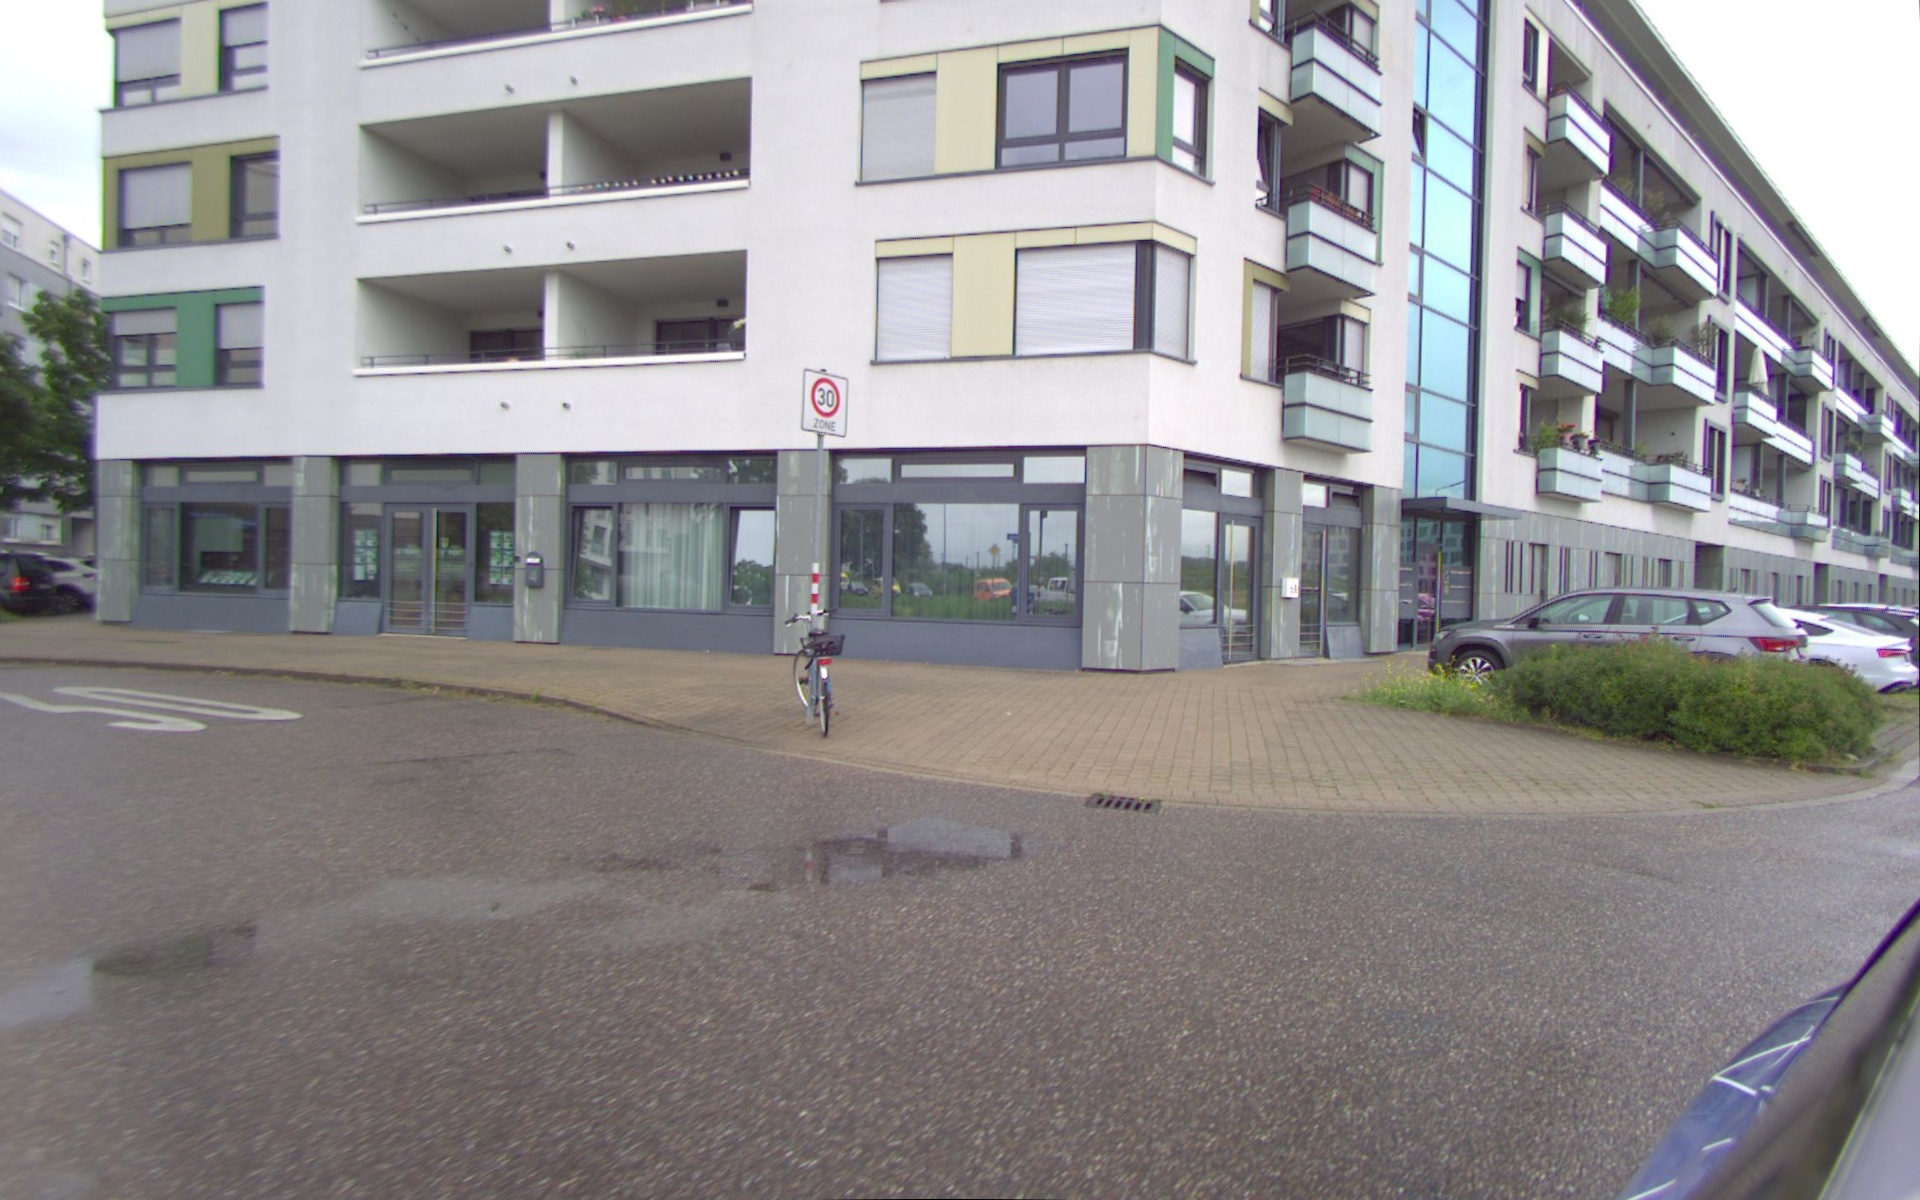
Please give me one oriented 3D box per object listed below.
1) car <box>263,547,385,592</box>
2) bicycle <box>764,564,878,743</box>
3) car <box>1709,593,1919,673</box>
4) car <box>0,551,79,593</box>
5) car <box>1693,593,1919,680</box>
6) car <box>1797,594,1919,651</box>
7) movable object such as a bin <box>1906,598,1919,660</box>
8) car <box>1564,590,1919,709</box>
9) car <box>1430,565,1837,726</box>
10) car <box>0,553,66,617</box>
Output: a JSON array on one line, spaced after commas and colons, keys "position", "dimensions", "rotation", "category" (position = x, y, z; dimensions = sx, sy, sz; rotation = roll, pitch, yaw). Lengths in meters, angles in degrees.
[{"position": [-26.807, -1.258, 42.805], "dimensions": [4.016, 1.776, 1.818], "rotation": [1, 1, -18], "category": "car"}, {"position": [-1.413, 0.431, 9.880], "dimensions": [0.617, 1.541, 2.200], "rotation": [1, 1, -20], "category": "bicycle"}, {"position": [19.715, 0.693, 22.901], "dimensions": [2.021, 1.515, 4.070], "rotation": [1, 2, -40], "category": "car"}, {"position": [-39.662, -1.176, 42.692], "dimensions": [1.958, 1.706, 4.431], "rotation": [1, 1, -15], "category": "car"}, {"position": [18.071, 0.709, 21.263], "dimensions": [1.846, 1.497, 3.995], "rotation": [1, 2, -41], "category": "car"}, {"position": [28.881, 0.721, 31.263], "dimensions": [1.860, 1.549, 4.356], "rotation": [1, 3, -40], "category": "car"}, {"position": [24.889, 0.735, 25.556], "dimensions": [1.554, 1.545, 1.303], "rotation": [1, 0, -40], "category": "movable object such as a bin"}, {"position": [12.566, 0.679, 16.362], "dimensions": [1.877, 1.422, 4.419], "rotation": [0, 3, -41], "category": "car"}, {"position": [8.750, 0.458, 13.426], "dimensions": [1.932, 1.643, 4.097], "rotation": [0, 3, -41], "category": "car"}, {"position": [-23.990, -0.387, 23.544], "dimensions": [4.428, 1.451, 1.818], "rotation": [1, 1, -18], "category": "car"}]
